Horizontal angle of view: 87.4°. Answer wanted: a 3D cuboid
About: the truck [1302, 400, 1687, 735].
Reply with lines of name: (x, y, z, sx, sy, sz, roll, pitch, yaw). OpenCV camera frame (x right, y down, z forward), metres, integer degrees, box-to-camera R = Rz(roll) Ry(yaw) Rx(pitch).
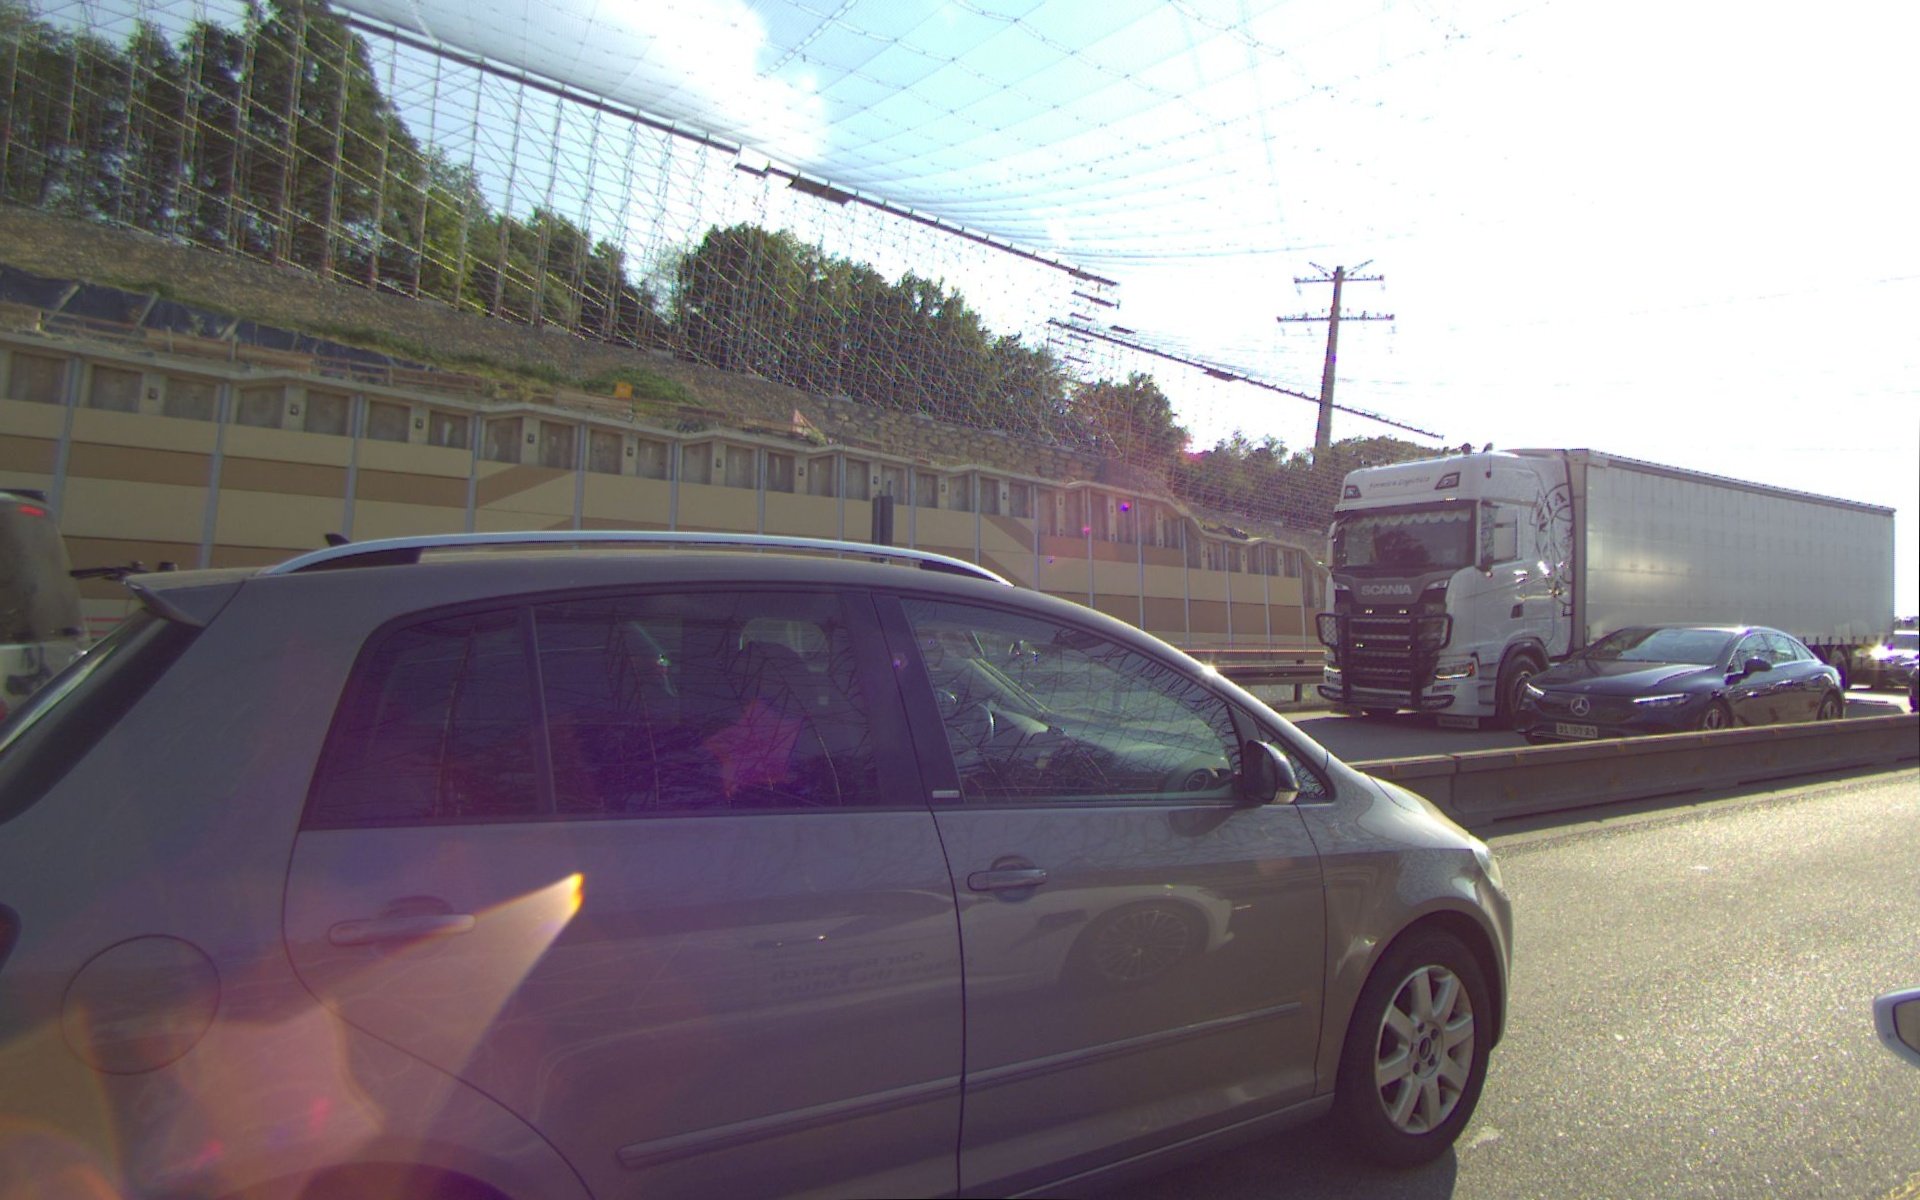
truck: (8.422, -0.333, 15.629, 6.038, 4.286, 2.647, 2, -1, -33)

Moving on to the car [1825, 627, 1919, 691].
car: (23.880, 1.475, 25.623, 3.808, 1.460, 1.656, 2, 0, -32)

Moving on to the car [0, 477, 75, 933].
car: (-6.249, 0.400, 3.213, 4.806, 1.961, 1.865, 2, 0, -31)

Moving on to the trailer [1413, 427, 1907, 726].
trailer: (14.081, -0.203, 19.288, 13.768, 4.290, 2.638, 2, 1, -33)

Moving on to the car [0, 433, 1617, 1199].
car: (-0.143, 0.650, 2.764, 4.053, 1.594, 1.675, 2, -1, -31)

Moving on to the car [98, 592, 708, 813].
car: (-4.409, 0.733, 8.512, 4.089, 1.467, 1.713, 2, 0, -30)

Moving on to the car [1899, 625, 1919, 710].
car: (19.841, 1.314, 19.223, 4.358, 1.563, 1.731, 2, 0, -33)

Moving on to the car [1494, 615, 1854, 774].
car: (8.586, 1.003, 11.960, 4.700, 1.522, 1.775, 2, 0, -32)
